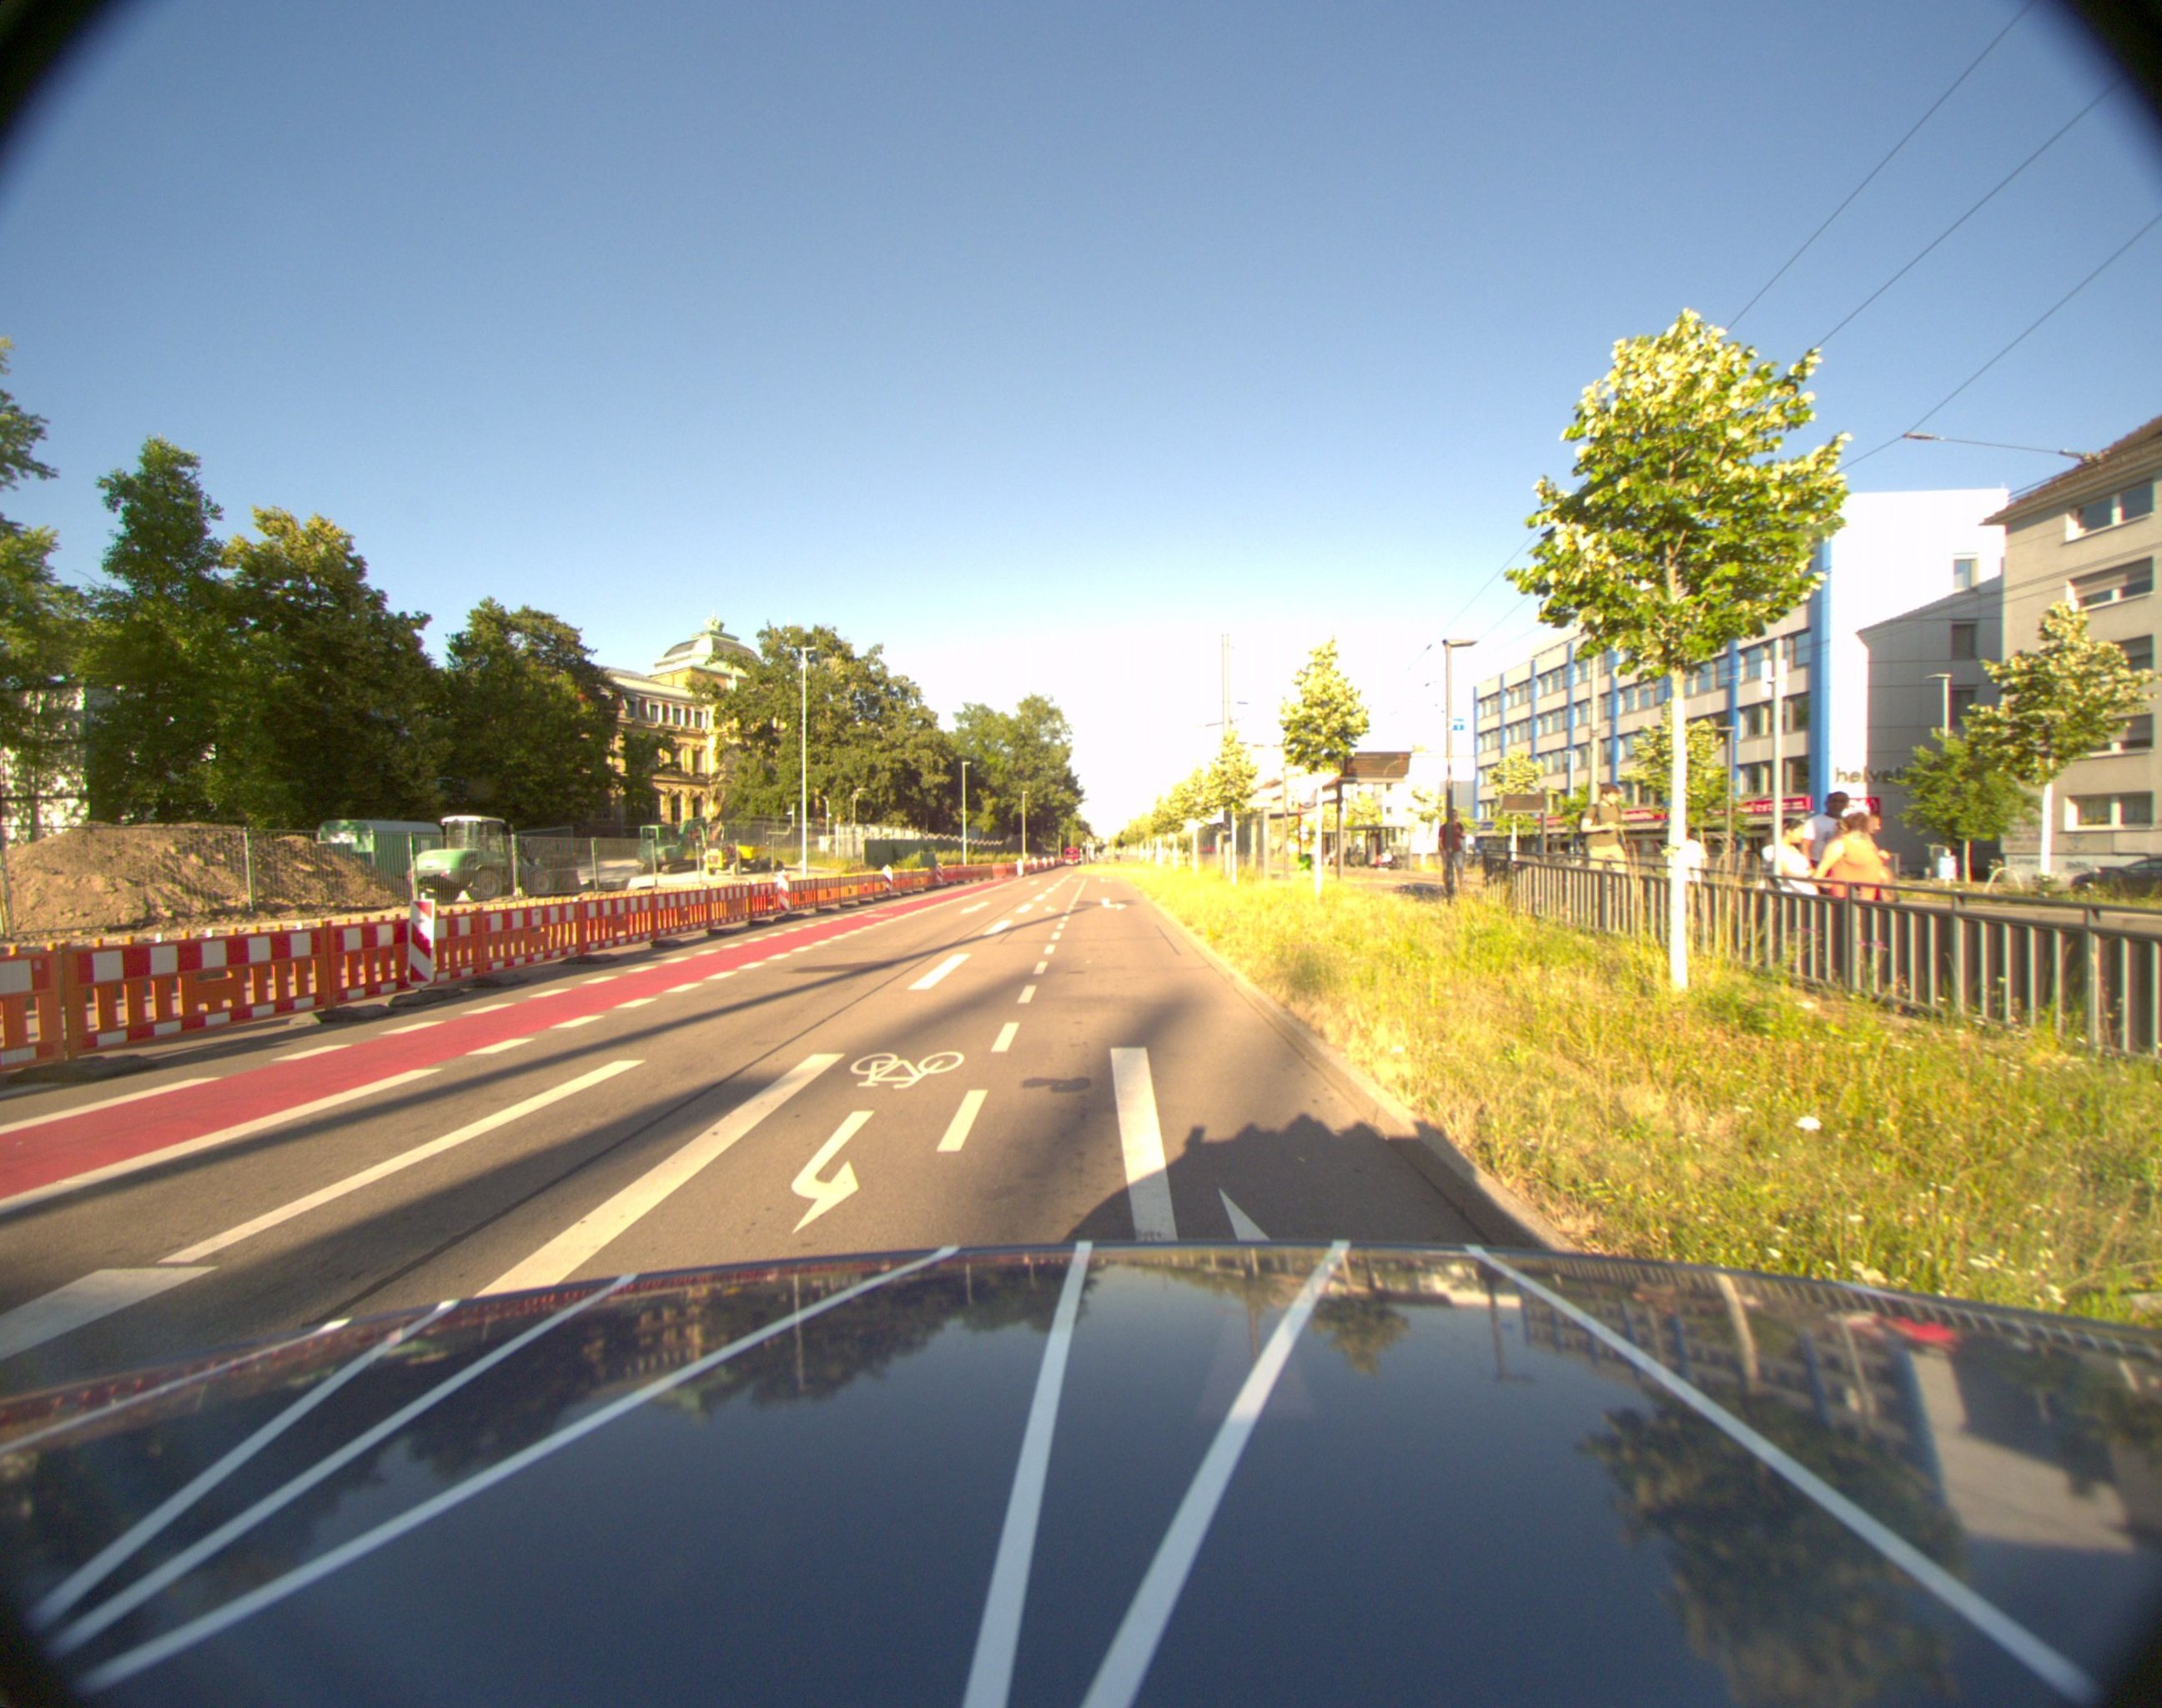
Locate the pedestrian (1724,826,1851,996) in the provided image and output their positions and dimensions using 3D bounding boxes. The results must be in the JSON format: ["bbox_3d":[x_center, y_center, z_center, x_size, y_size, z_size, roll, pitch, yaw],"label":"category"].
[{"bbox_3d":[6.333,0.489,6.833,0.638,1.447,0.525,-2,1,-1],"label":"pedestrian"}]

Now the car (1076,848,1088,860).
[{"bbox_3d":[0.180,-0.077,132.742,1.998,2.002,3.999,-2,1,1],"label":"car"}]

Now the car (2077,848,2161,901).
[{"bbox_3d":[33.145,0.624,22.742,1.886,1.499,3.674,-2,1,1],"label":"car"}]

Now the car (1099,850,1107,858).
[{"bbox_3d":[5.420,-0.032,188.302,1.998,2.002,3.999,-2,1,1],"label":"car"}]

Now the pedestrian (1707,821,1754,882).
[{"bbox_3d":[18.407,-0.073,21.545,0.787,1.663,0.619,-2,1,4],"label":"pedestrian"}]

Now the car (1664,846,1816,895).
[{"bbox_3d":[22.815,0.518,26.529,1.886,1.499,3.942,-2,1,1],"label":"car"}]

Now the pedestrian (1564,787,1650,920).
[{"bbox_3d":[7.627,-0.005,11.038,0.787,1.853,0.619,-2,1,4],"label":"pedestrian"}]

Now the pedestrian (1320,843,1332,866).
[{"bbox_3d":[18.662,0.048,57.846,0.659,1.682,0.772,-2,1,4],"label":"pedestrian"}]

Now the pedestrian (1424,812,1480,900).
[{"bbox_3d":[7.372,0.039,15.129,0.787,1.689,0.619,-2,1,4],"label":"pedestrian"}]

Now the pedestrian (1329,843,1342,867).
[{"bbox_3d":[18.602,0.076,55.542,0.659,1.682,0.772,-2,1,7],"label":"pedestrian"}]

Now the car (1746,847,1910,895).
[{"bbox_3d":[25.990,0.532,26.659,1.886,1.499,3.942,-2,1,1],"label":"car"}]

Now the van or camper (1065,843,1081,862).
[{"bbox_3d":[-1.123,-0.208,108.192,1.998,2.514,5.913,-2,1,1],"label":"van or camper"}]

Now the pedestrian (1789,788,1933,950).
[{"bbox_3d":[7.846,0.147,7.671,0.787,1.540,0.619,-2,1,4],"label":"pedestrian"}]

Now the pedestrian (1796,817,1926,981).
[{"bbox_3d":[7.094,0.393,6.929,0.638,1.423,0.524,-2,1,-2],"label":"pedestrian"}]

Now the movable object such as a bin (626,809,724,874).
[{"bbox_3d":[-22.430,-0.688,42.310,1.998,3.310,5.376,-2,1,5],"label":"movable object such as a bin"}]

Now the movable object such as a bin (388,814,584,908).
[{"bbox_3d":[-19.049,0.169,24.721,1.998,2.668,5.015,-2,1,5],"label":"movable object such as a bin"}]

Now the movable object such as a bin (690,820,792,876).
[{"bbox_3d":[-18.650,-0.352,42.074,1.997,2.800,5.871,-2,1,11],"label":"movable object such as a bin"}]

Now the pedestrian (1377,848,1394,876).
[{"bbox_3d":[18.266,0.472,45.600,0.660,1.682,0.772,-2,1,-1],"label":"pedestrian"}]
